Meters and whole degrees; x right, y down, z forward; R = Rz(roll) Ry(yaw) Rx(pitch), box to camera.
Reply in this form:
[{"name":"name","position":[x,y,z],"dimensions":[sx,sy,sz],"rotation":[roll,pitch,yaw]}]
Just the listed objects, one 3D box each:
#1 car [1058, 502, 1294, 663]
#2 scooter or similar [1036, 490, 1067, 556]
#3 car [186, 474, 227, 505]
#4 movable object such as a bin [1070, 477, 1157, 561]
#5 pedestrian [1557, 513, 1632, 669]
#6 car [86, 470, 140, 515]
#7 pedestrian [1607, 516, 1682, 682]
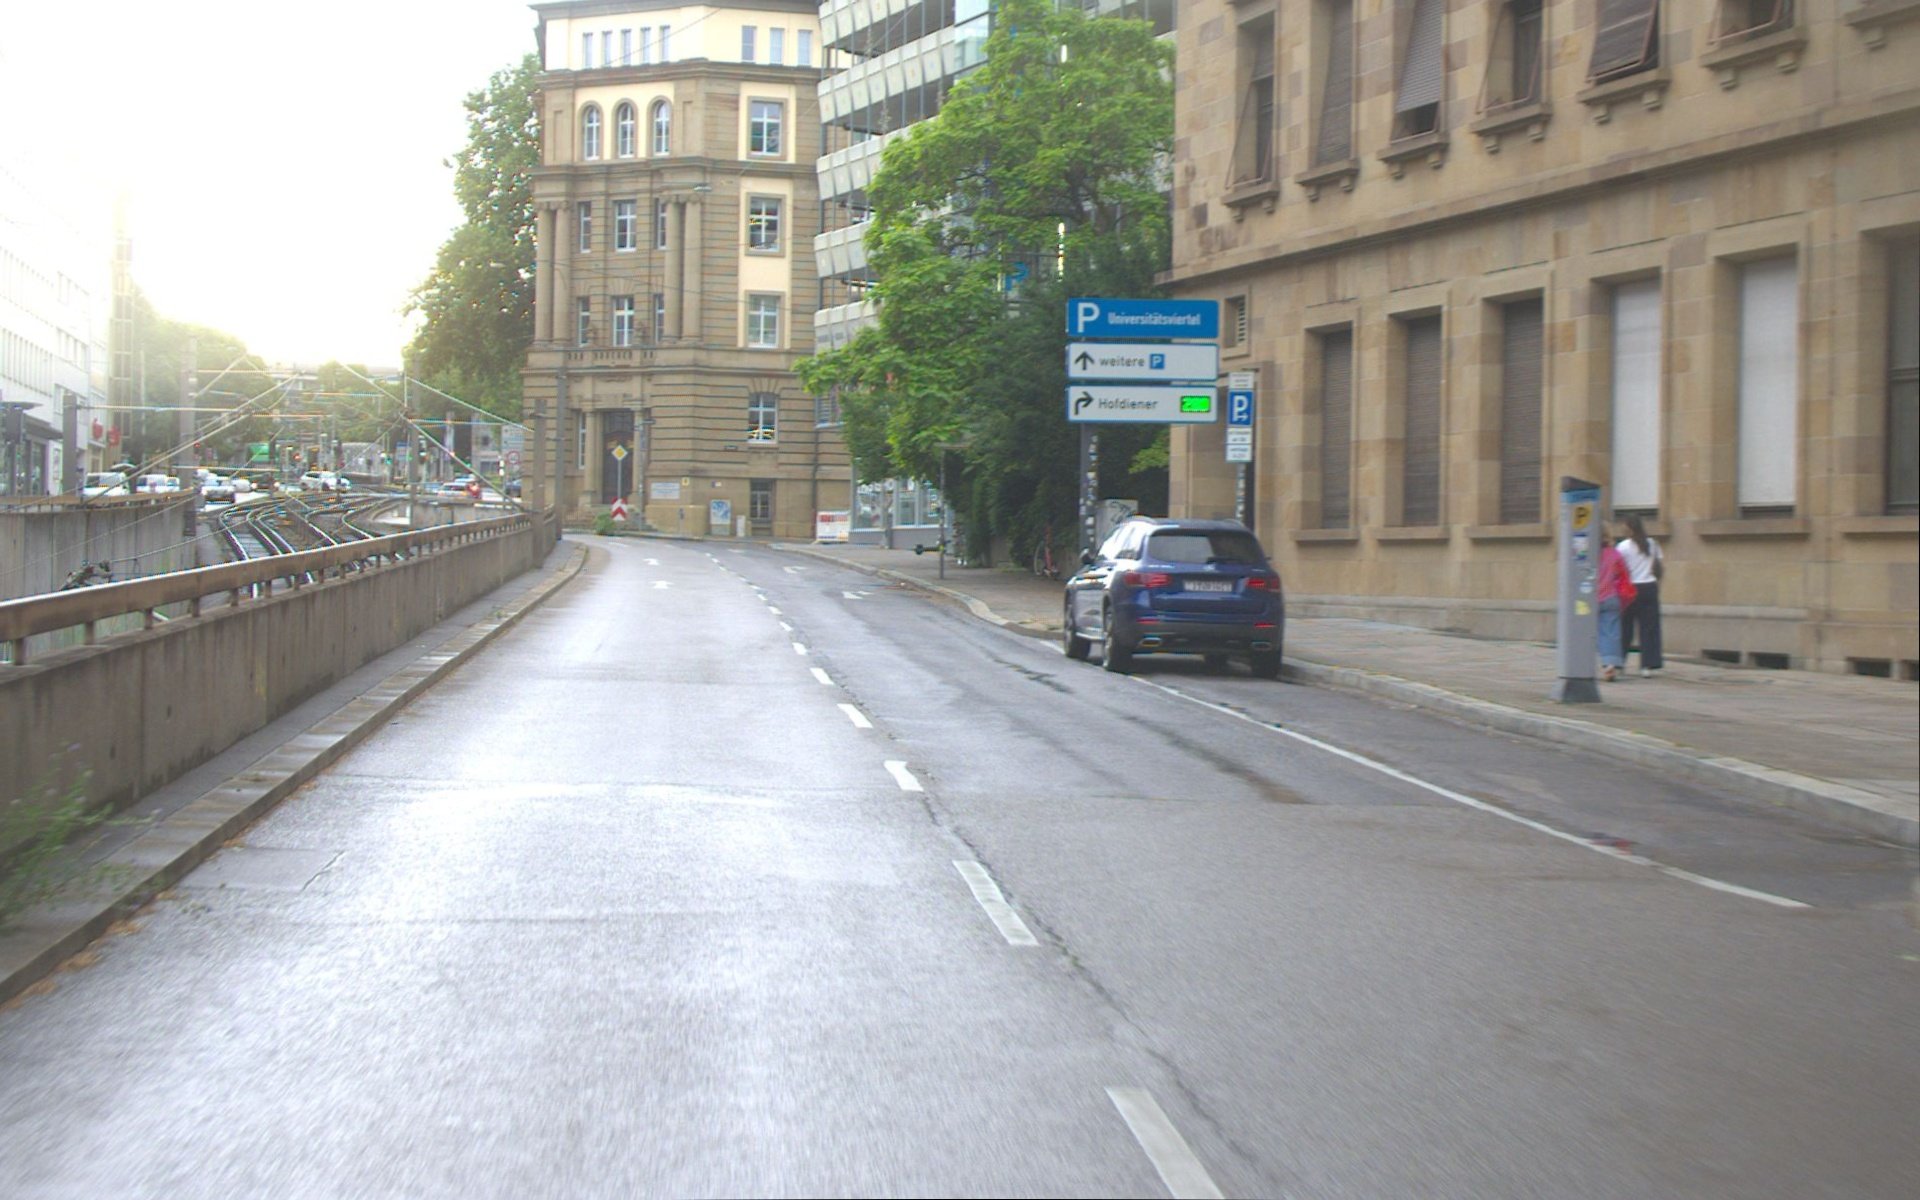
[{"name":"car","position":[2.288,-0.224,37.497],"dimensions":[1.768,1.614,4.159],"rotation":[1,1,-7]},{"name":"scooter or similar","position":[1.770,-1.489,66.321],"dimensions":[0.447,1.255,1.211],"rotation":[-1,2,-5]},{"name":"car","position":[-40.082,-5.882,182.887],"dimensions":[1.993,1.522,3.664],"rotation":[2,2,-10]},{"name":"movable object such as a bin","position":[2.446,-1.301,54.915],"dimensions":[1.239,1.305,1.234],"rotation":[-1,2,-4]},{"name":"pedestrian","position":[6.138,-0.094,33.265],"dimensions":[0.524,1.487,0.674],"rotation":[1,1,-5]},{"name":"car","position":[-37.556,-4.771,152.499],"dimensions":[1.993,1.876,4.929],"rotation":[2,2,-10]},{"name":"pedestrian","position":[6.682,-0.017,33.587],"dimensions":[0.524,1.597,0.674],"rotation":[1,1,-5]}]
